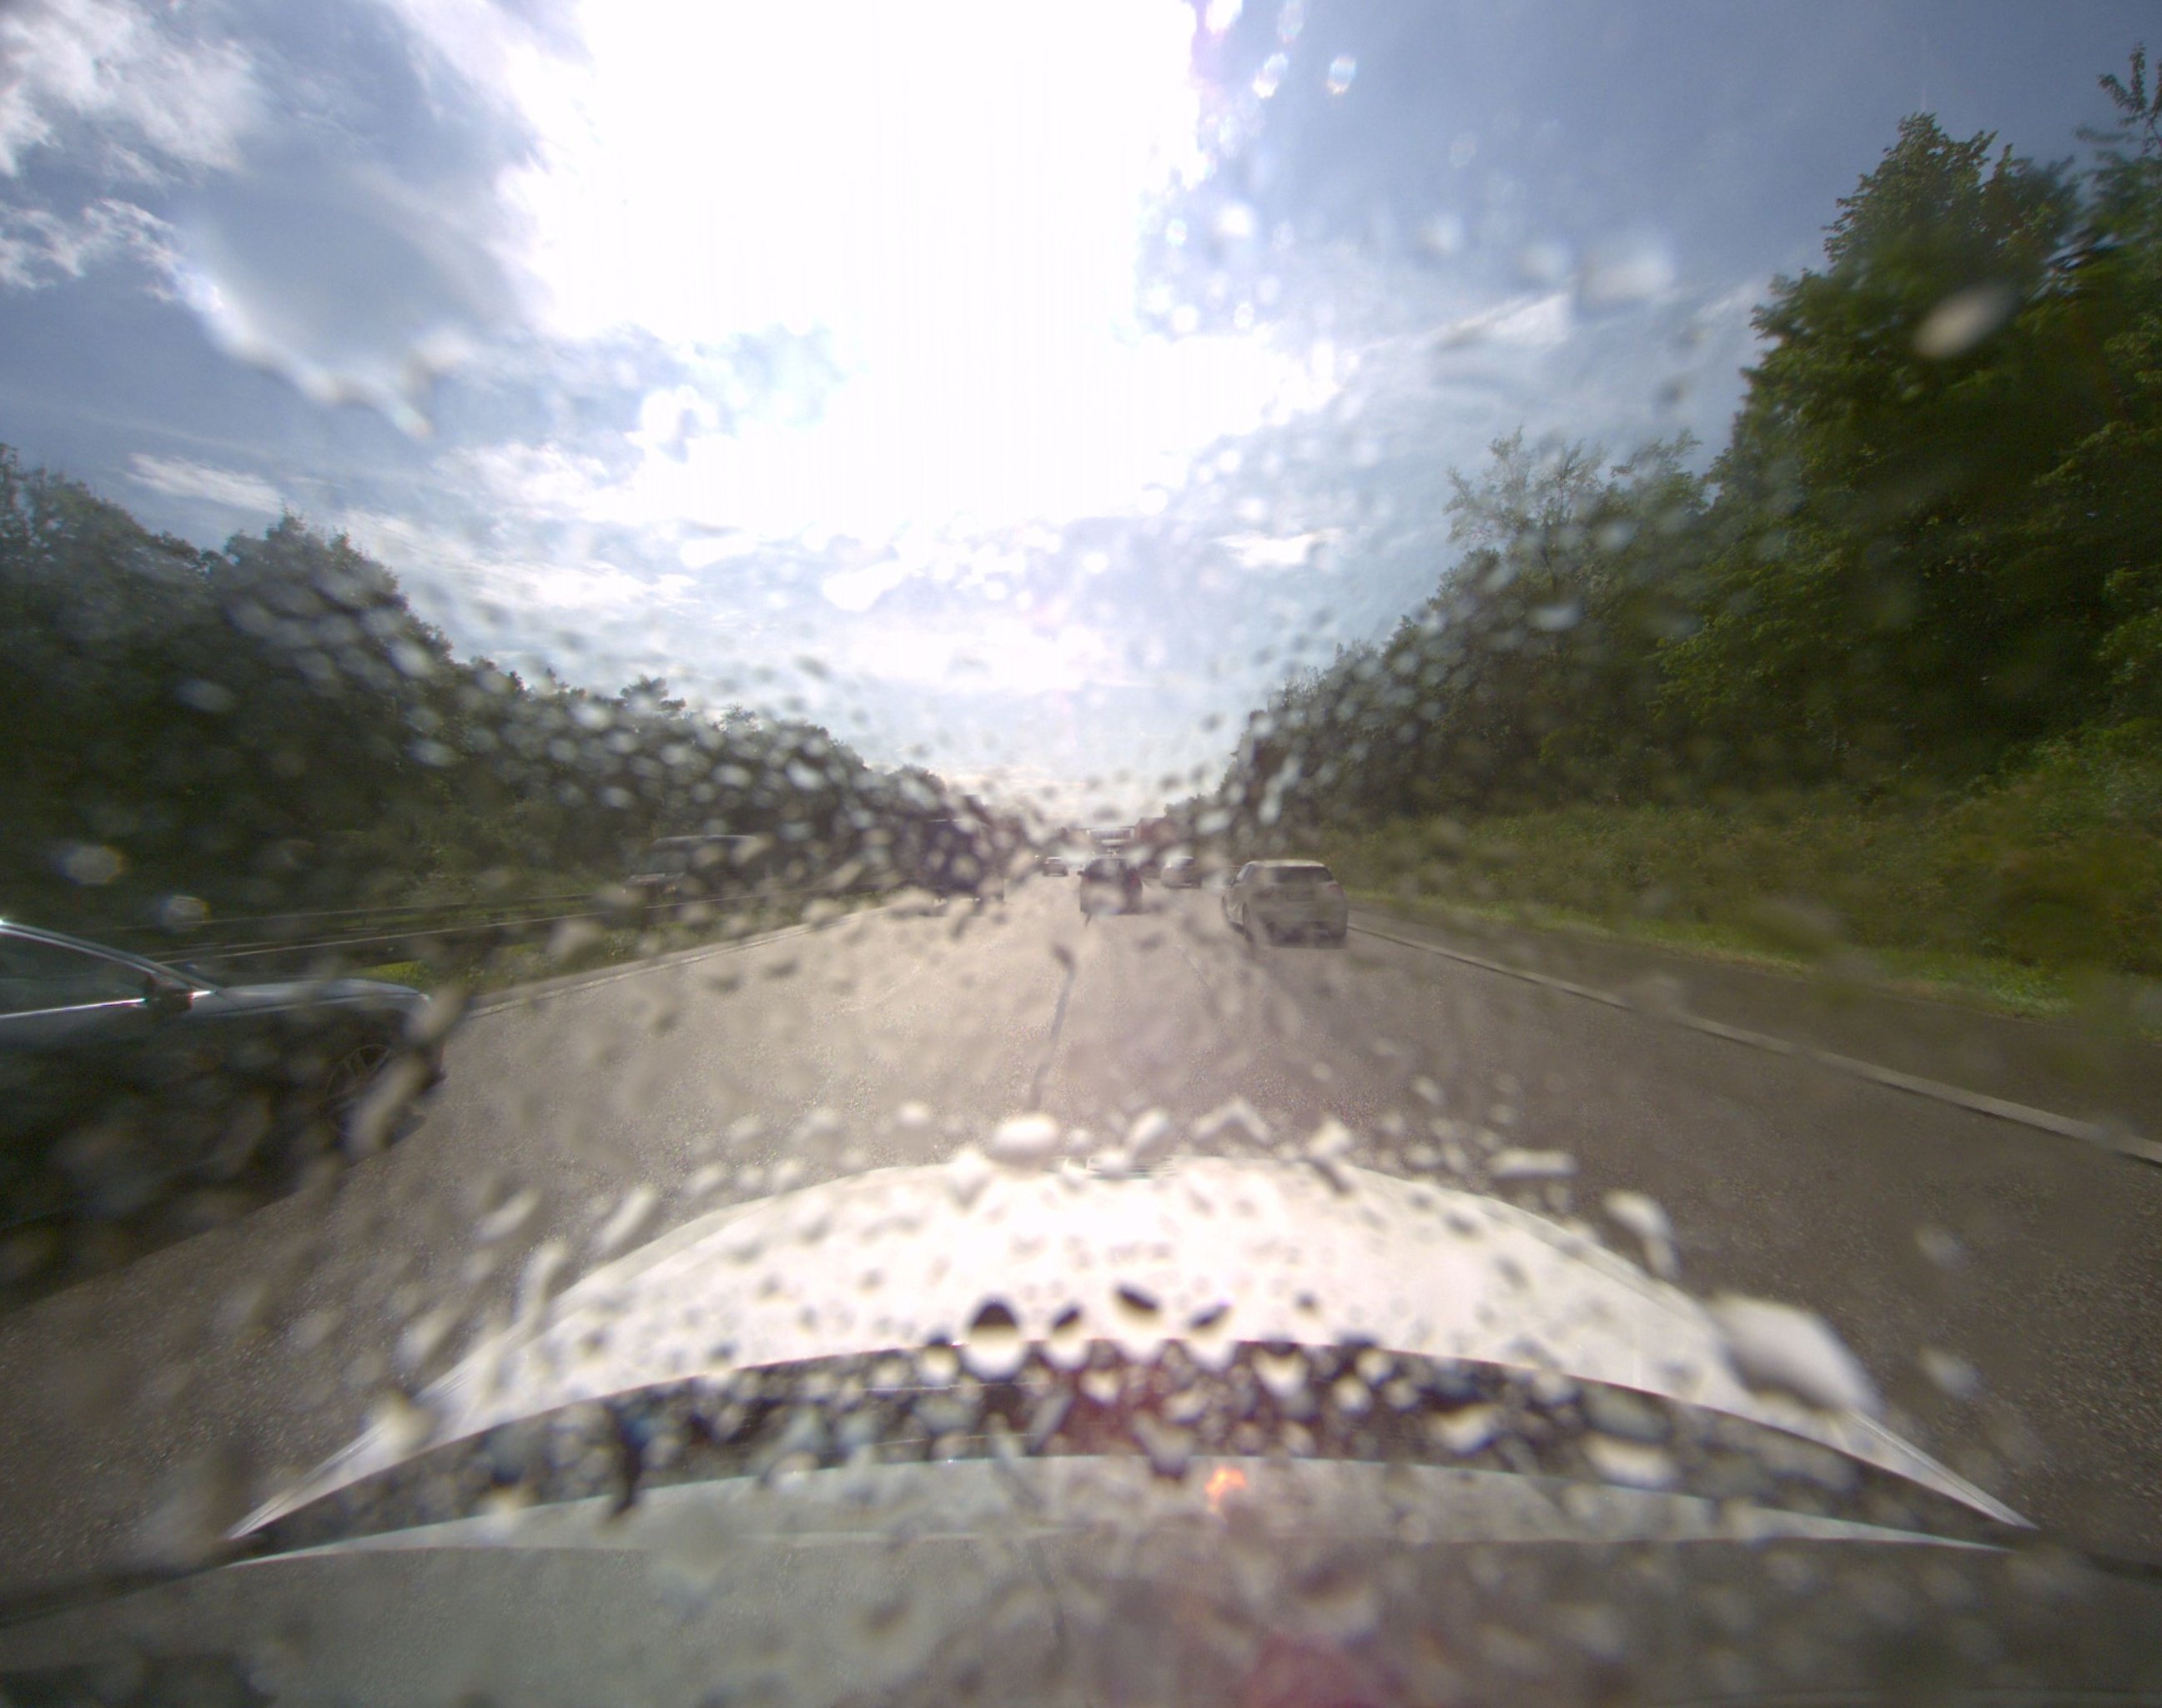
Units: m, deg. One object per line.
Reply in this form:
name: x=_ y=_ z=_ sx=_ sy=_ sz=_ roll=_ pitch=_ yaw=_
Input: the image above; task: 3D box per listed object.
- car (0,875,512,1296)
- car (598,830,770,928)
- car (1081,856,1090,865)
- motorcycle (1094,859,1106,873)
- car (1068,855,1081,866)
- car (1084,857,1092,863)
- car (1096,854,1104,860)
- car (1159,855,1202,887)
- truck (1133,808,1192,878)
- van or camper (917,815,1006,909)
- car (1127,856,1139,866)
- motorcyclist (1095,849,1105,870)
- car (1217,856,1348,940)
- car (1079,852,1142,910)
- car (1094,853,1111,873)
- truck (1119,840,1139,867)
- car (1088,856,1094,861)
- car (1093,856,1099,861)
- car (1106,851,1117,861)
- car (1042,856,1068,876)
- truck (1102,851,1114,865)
car: x=-4.674 y=0.842 z=2.897 sx=1.787 sy=1.419 sz=4.840 roll=0 pitch=0 yaw=2
car: x=-13.044 y=0.761 z=27.489 sx=2.254 sy=2.870 sz=6.892 roll=0 pitch=0 yaw=2
car: x=0.789 y=1.101 z=138.460 sx=1.455 sy=1.393 sz=3.311 roll=0 pitch=0 yaw=1
motorcycle: x=1.448 y=0.925 z=63.597 sx=0.888 sy=1.000 sz=2.896 roll=0 pitch=0 yaw=1
car: x=-0.828 y=0.903 z=112.134 sx=1.745 sy=1.457 sz=3.390 roll=0 pitch=0 yaw=0
car: x=1.474 y=1.244 z=163.183 sx=1.544 sy=1.267 sz=3.484 roll=0 pitch=0 yaw=0
car: x=5.312 y=0.867 z=230.657 sx=1.983 sy=1.701 sz=4.007 roll=-2 pitch=0 yaw=6
car: x=4.832 y=0.798 z=39.848 sx=1.675 sy=1.442 sz=3.905 roll=0 pitch=0 yaw=1
truck: x=6.080 y=-0.720 z=63.792 sx=3.635 sy=4.720 sz=16.788 roll=0 pitch=0 yaw=2
van or camper: x=-3.664 y=0.235 z=26.030 sx=1.987 sy=2.669 sz=5.385 roll=0 pitch=0 yaw=1
car: x=7.512 y=1.014 z=118.292 sx=1.547 sy=1.383 sz=3.210 roll=0 pitch=0 yaw=0
motorcyclist: x=1.462 y=0.435 z=63.557 sx=0.799 sy=1.633 sz=1.013 roll=0 pitch=-1 yaw=0
car: x=3.781 y=0.757 z=15.966 sx=1.685 sy=1.425 sz=4.222 roll=0 pitch=0 yaw=2
car: x=0.819 y=0.741 z=23.713 sx=1.712 sy=1.568 sz=3.484 roll=0 pitch=0 yaw=0
car: x=1.965 y=0.829 z=76.256 sx=1.526 sy=1.746 sz=3.484 roll=0 pitch=0 yaw=1
truck: x=8.472 y=-0.071 z=144.504 sx=3.243 sy=4.479 sz=12.428 roll=0 pitch=0 yaw=2
car: x=2.418 y=1.145 z=194.854 sx=1.544 sy=1.267 sz=3.484 roll=0 pitch=0 yaw=0
car: x=3.778 y=1.174 z=209.753 sx=1.544 sy=1.267 sz=3.484 roll=0 pitch=0 yaw=0
car: x=4.362 y=0.290 z=117.634 sx=1.547 sy=1.383 sz=3.210 roll=0 pitch=0 yaw=0
car: x=-2.049 y=0.919 z=65.104 sx=1.848 sy=1.551 sz=3.484 roll=0 pitch=0 yaw=0
truck: x=5.533 y=0.786 z=166.554 sx=2.184 sy=2.875 sz=4.849 roll=0 pitch=0 yaw=1
